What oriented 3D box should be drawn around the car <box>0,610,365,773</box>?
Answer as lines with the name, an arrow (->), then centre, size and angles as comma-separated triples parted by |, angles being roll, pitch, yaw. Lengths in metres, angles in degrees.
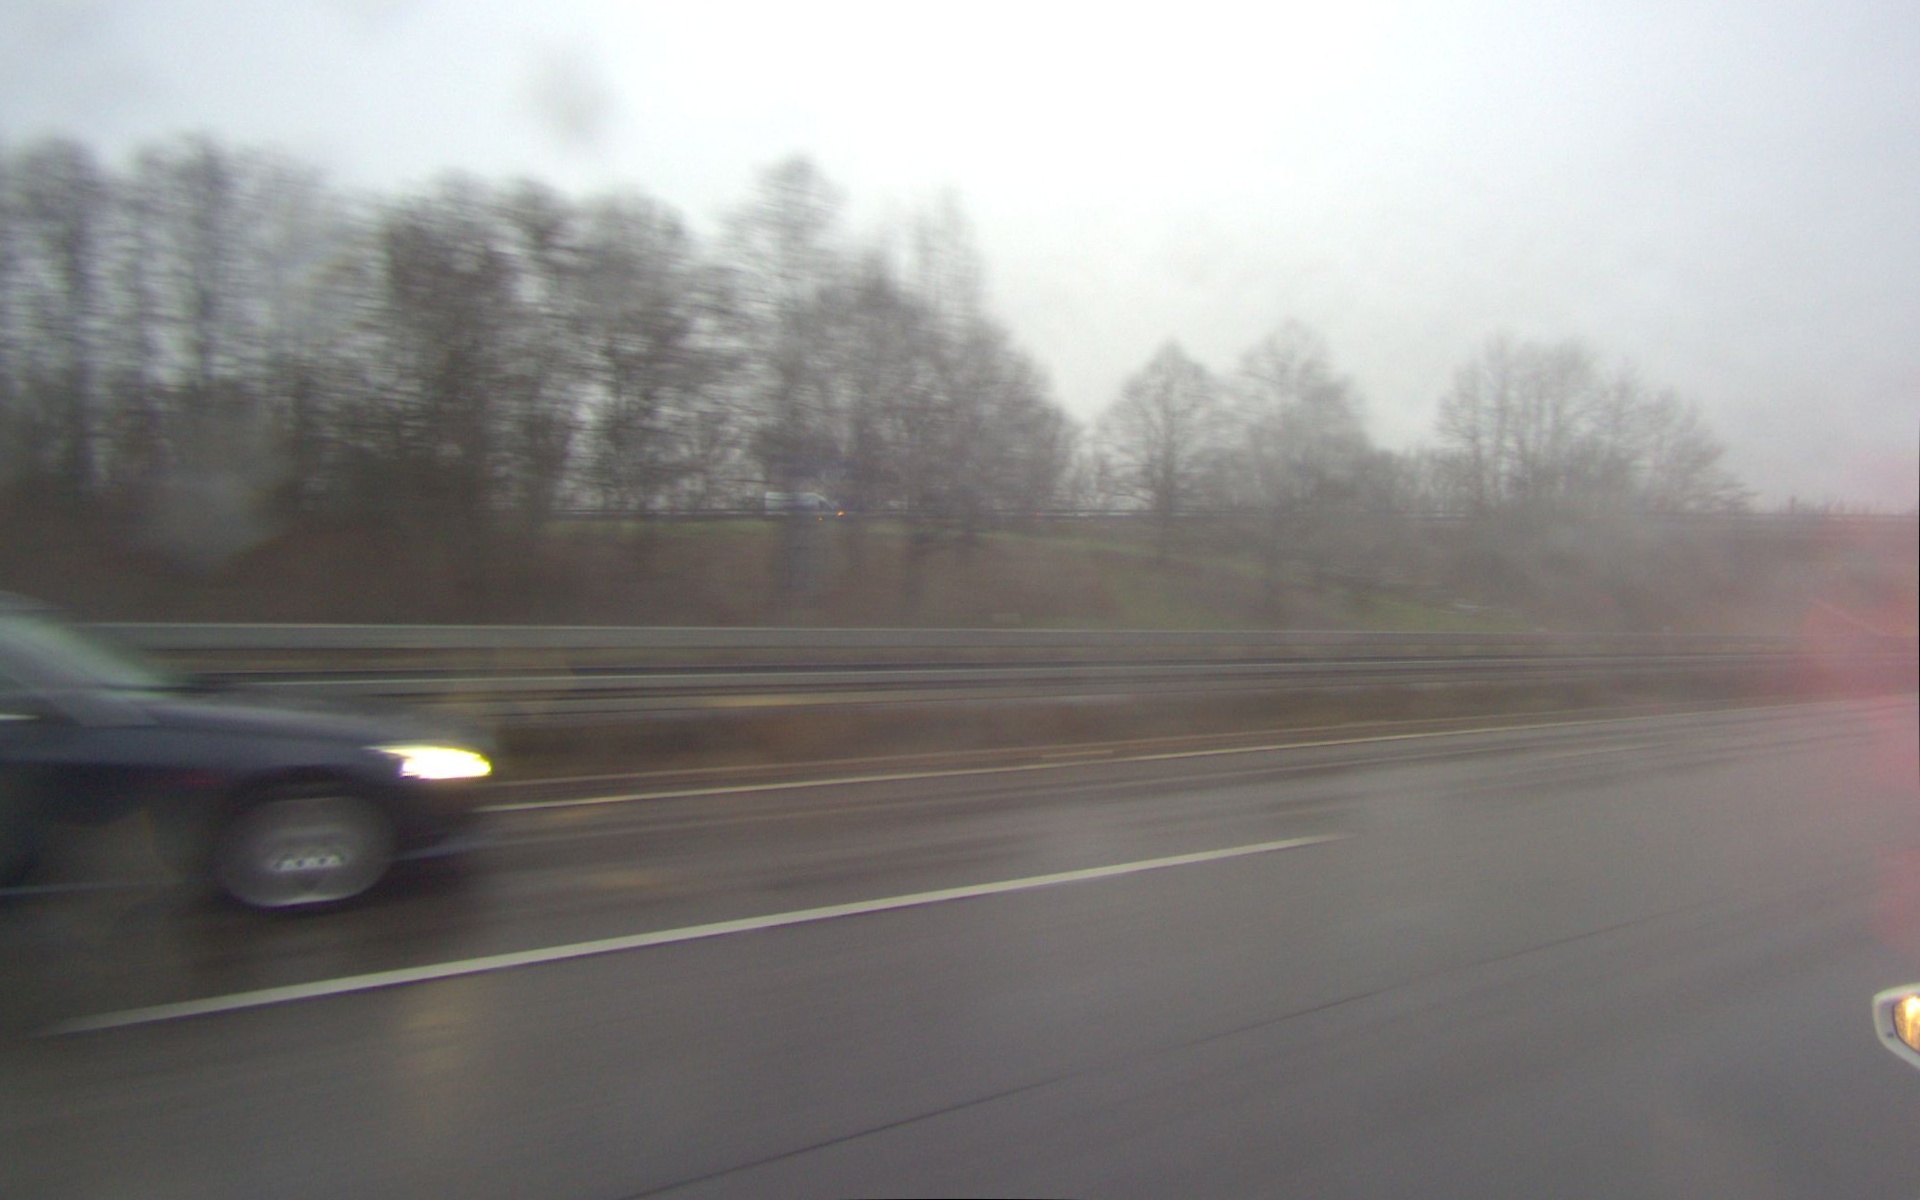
car -> -8.881, 0.912, 10.657 | 4.321, 1.539, 1.675 | 2, -1, -30

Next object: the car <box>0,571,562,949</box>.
car -> -4.312, 0.651, 4.688 | 4.362, 1.487, 1.789 | 1, -2, -30
